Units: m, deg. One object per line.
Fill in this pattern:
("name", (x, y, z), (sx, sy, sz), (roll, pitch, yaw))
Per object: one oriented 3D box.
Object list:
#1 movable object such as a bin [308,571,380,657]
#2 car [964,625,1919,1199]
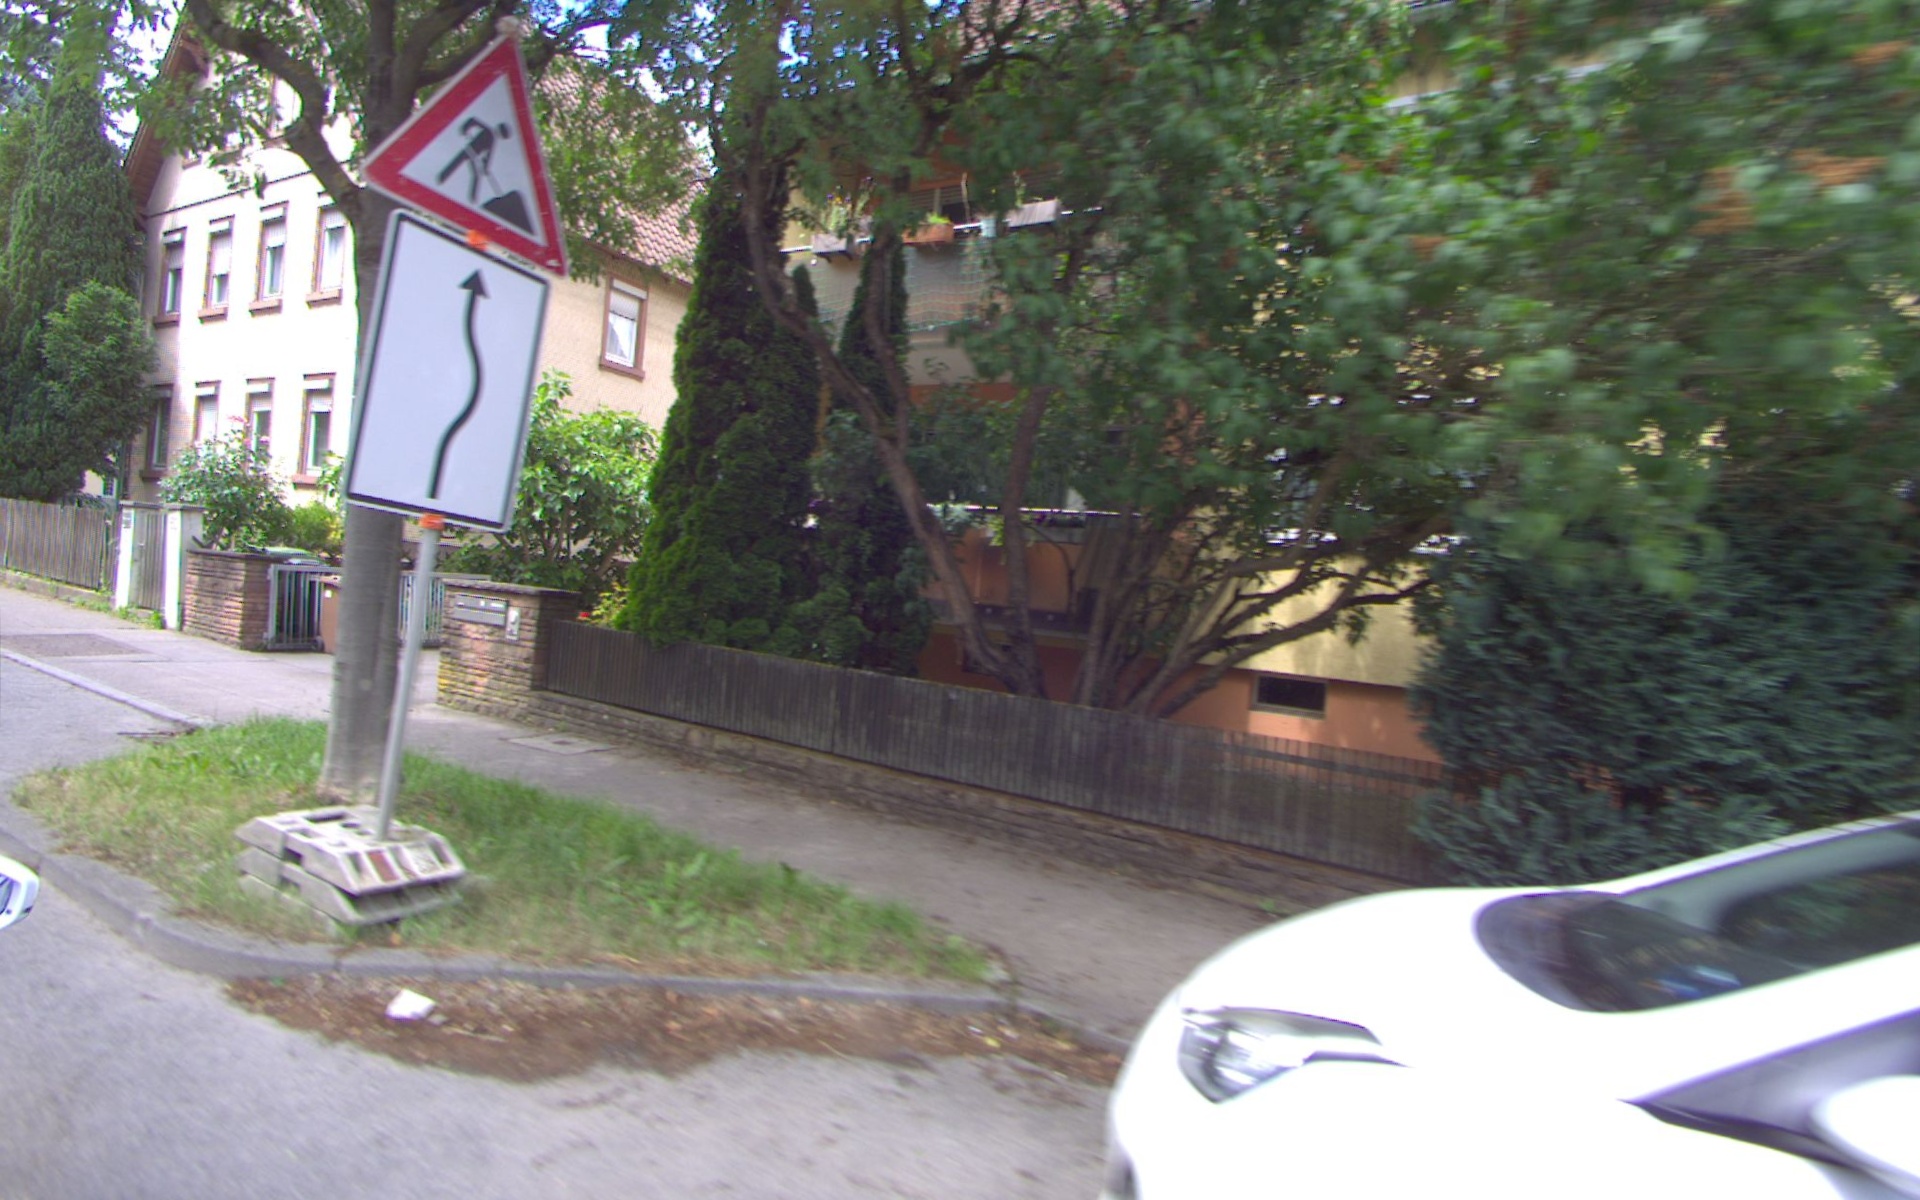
("movable object such as a bin", (-7.381, 0.170, 12.060), (0.511, 0.948, 0.507), (9, 4, 31))
("car", (2.031, 1.027, 1.672), (3.716, 1.527, 1.623), (6, 1, 31))
